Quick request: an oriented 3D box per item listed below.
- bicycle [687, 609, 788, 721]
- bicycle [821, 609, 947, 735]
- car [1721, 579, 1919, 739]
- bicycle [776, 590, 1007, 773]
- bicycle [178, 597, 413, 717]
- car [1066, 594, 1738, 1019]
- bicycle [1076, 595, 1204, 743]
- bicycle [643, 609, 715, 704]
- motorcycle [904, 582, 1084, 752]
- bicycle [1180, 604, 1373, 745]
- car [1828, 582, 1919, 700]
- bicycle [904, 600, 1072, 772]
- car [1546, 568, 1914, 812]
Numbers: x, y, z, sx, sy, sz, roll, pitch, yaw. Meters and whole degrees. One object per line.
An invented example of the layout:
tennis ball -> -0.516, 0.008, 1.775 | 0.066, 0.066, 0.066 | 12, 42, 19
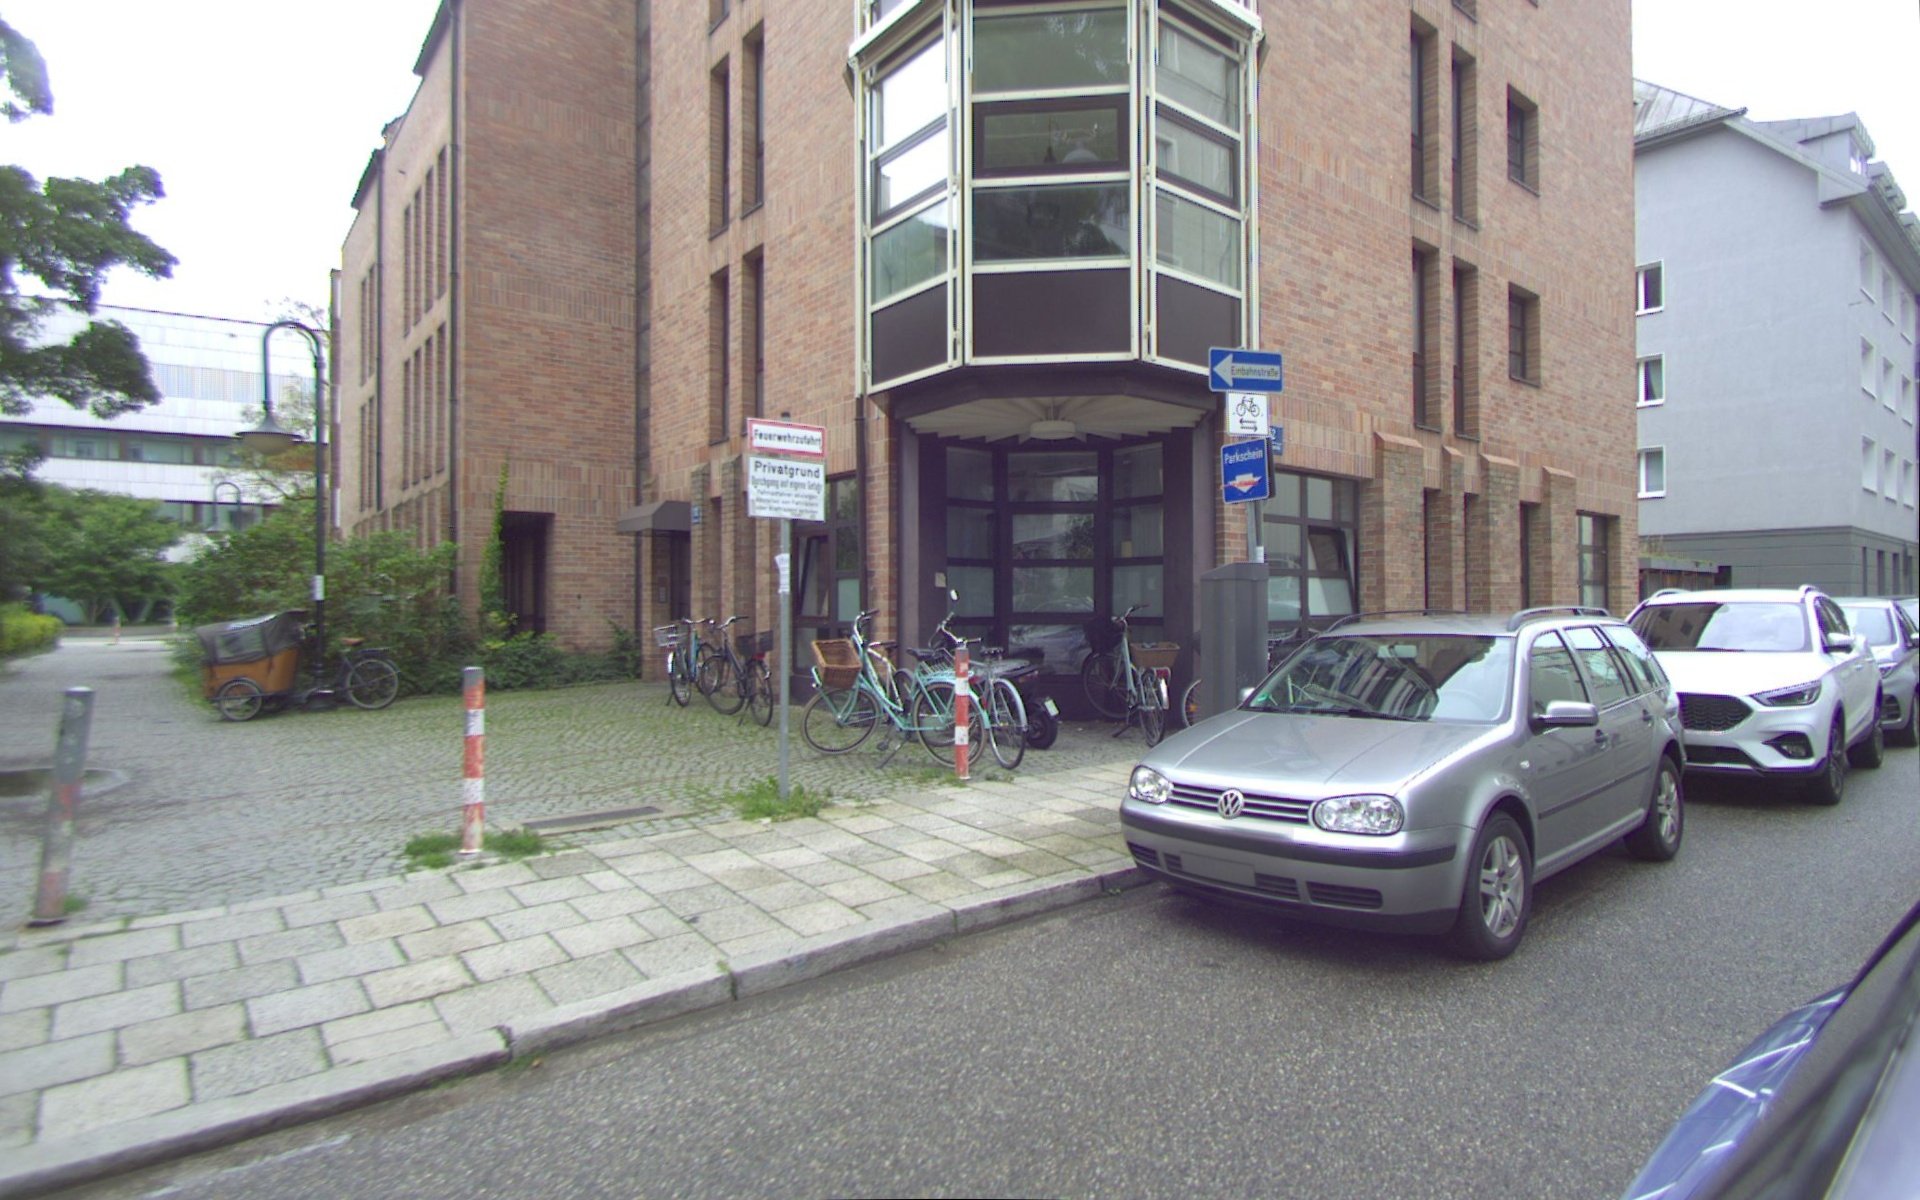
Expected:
bicycle -> -2.435, 0.652, 10.945 | 0.434, 1.086, 1.887 | 0, 0, -33
bicycle -> -0.776, 0.646, 9.808 | 0.434, 1.086, 1.755 | 0, 0, -33
car -> 10.320, 0.584, 11.752 | 3.741, 1.578, 1.617 | 0, -1, -41
bicycle -> -0.561, 0.602, 8.083 | 1.786, 1.339, 0.582 | 0, 1, 26
bicycle -> -7.970, 0.661, 12.229 | 2.218, 1.285, 0.810 | -2, 0, -6
car -> 2.684, 0.724, 5.577 | 4.283, 1.453, 1.723 | 0, -1, -41
bicycle -> 1.676, 0.590, 9.725 | 0.581, 1.245, 1.881 | -1, 1, -10
bicycle -> -3.463, 0.671, 12.551 | 0.434, 1.086, 1.425 | 0, 0, 3
motorcycle -> 0.270, 0.545, 9.279 | 0.543, 1.402, 1.761 | 0, 1, -44
bicycle -> 3.072, 0.672, 9.814 | 1.743, 1.232, 0.744 | -1, 1, -25
car -> 14.333, 0.541, 15.029 | 3.981, 1.600, 1.617 | 0, -1, -41
bicycle -> 0.178, 0.633, 8.282 | 0.434, 1.201, 1.756 | 0, 2, -33
car -> 6.927, 0.609, 8.917 | 4.377, 1.636, 1.723 | 0, -1, -41
